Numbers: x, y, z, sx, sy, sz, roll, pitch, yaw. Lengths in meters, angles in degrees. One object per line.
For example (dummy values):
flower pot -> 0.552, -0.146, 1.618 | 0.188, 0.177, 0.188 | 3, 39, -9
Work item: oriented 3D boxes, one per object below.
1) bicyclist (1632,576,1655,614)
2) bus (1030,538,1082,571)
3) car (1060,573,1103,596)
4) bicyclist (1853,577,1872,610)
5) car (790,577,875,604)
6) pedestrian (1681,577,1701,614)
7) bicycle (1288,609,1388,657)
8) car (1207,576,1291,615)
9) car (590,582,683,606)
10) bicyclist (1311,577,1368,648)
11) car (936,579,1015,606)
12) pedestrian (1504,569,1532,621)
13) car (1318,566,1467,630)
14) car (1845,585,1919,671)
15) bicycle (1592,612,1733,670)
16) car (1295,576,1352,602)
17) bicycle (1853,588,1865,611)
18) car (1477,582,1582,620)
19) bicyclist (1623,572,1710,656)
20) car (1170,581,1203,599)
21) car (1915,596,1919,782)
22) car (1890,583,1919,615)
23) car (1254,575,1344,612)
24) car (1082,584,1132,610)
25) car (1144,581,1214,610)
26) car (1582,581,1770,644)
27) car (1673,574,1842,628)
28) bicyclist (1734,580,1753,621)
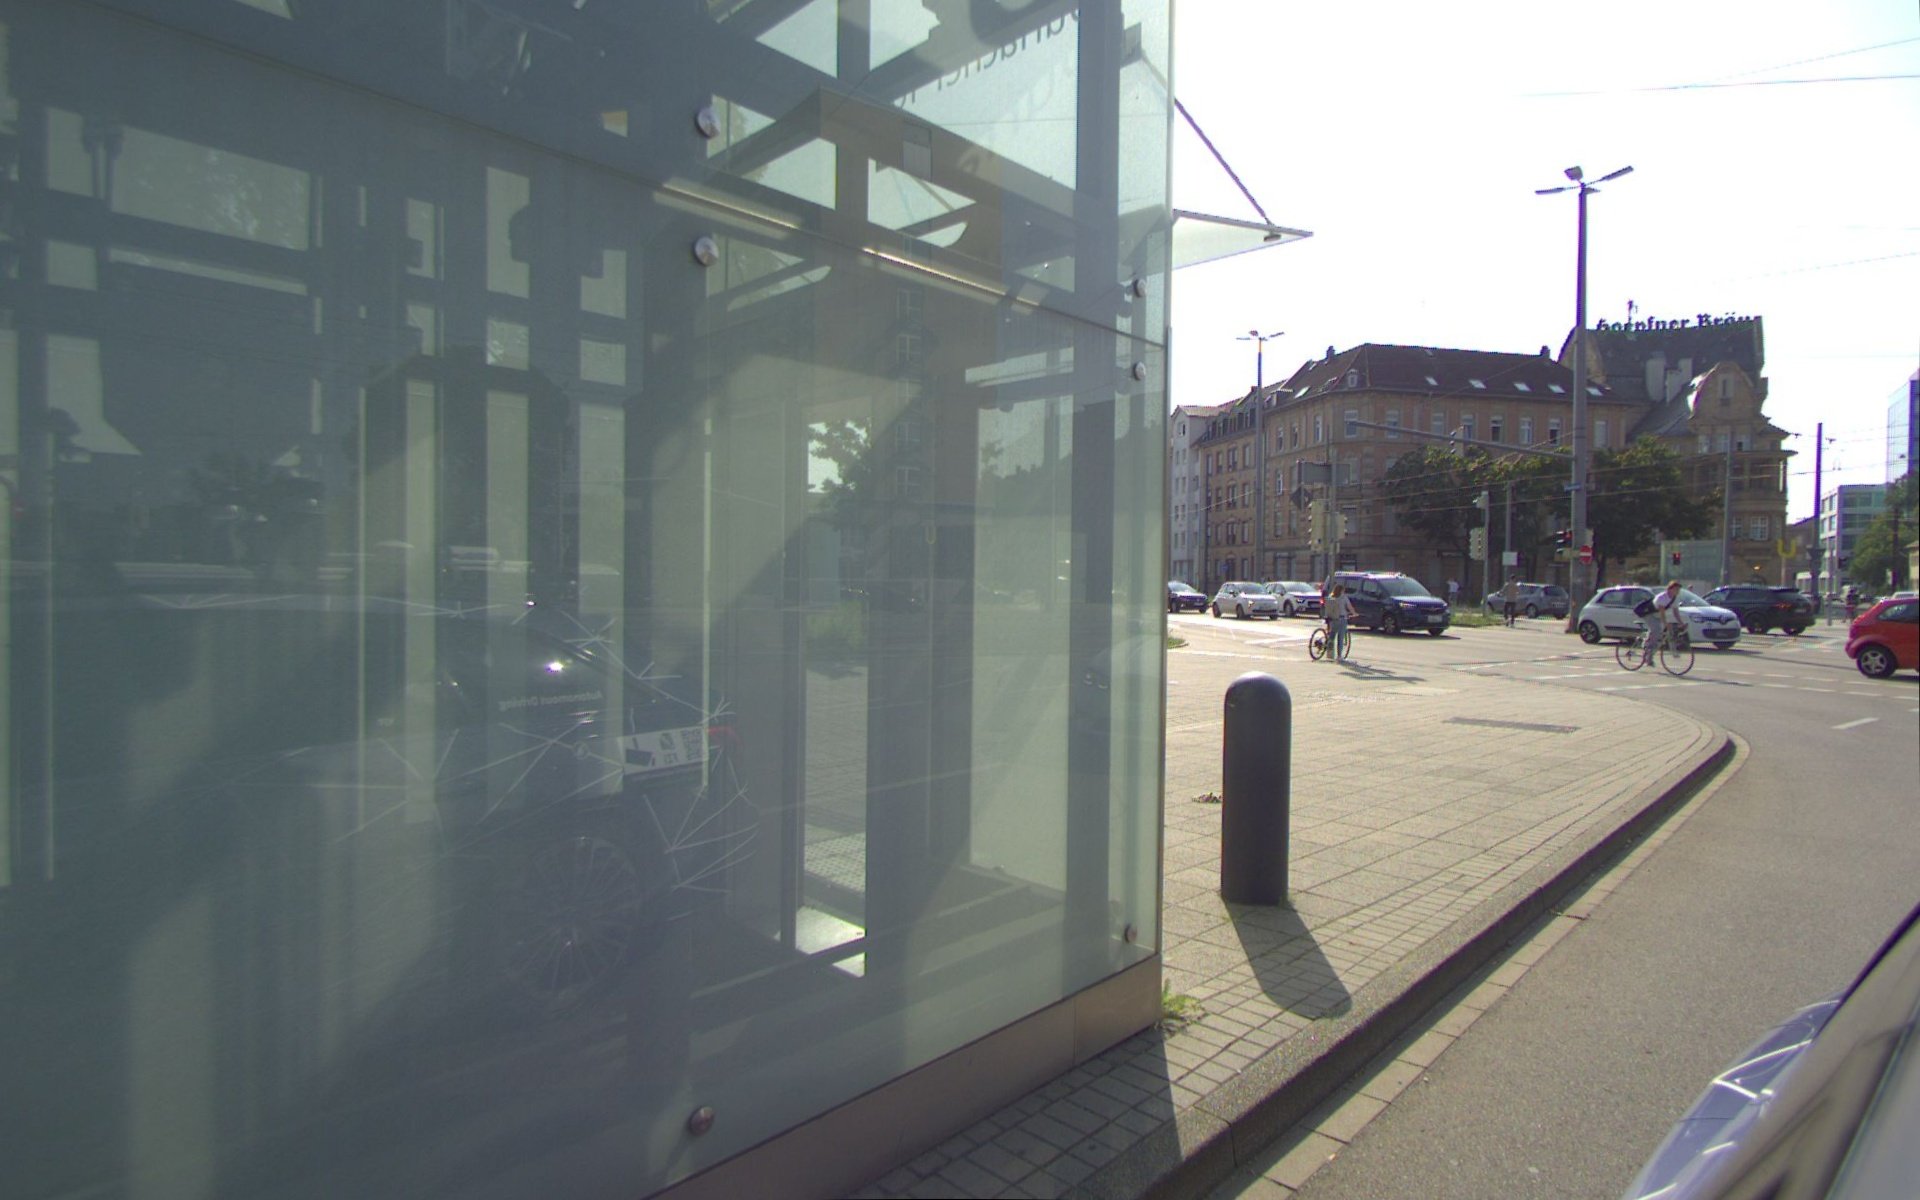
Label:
bicyclist -> 31.997, -0.227, 47.400 | 0.575, 1.738, 0.649 | 1, 0, -18
bus -> 9.146, -4.306, 98.170 | 2.840, 3.021, 11.512 | 1, 1, -5
car -> 8.093, -1.036, 67.760 | 1.766, 1.459, 3.639 | 1, 1, -12
bicyclist -> 44.871, -0.328, 50.314 | 0.660, 1.657, 0.905 | 2, 1, 41
car -> -6.966, -0.535, 55.189 | 4.305, 1.387, 2.005 | 0, 1, -18
pedestrian -> 33.645, -0.216, 46.549 | 0.495, 1.661, 0.525 | 1, 0, -15
bicycle -> 7.908, 0.698, 21.169 | 2.031, 0.905, 0.569 | 3, -1, -20
car -> 11.734, -0.215, 41.293 | 1.766, 1.459, 3.639 | 1, 1, -12
car -> -16.527, -0.315, 51.683 | 4.306, 1.180, 2.004 | 0, 1, -24
bicyclist -> 7.923, 0.257, 21.158 | 0.802, 1.445, 0.732 | 1, 0, -20
car -> 0.831, -0.441, 56.461 | 4.314, 1.387, 2.000 | 1, 1, 0
pedestrian -> 19.164, -0.183, 34.762 | 0.515, 1.752, 0.599 | 1, 0, -17
car -> 13.430, -0.119, 31.788 | 1.765, 1.850, 4.784 | 1, 1, -14
car -> 17.399, 0.517, 16.636 | 1.766, 1.433, 4.008 | 1, 1, -12
bicycle -> 13.237, 0.736, 19.162 | 0.518, 1.002, 2.200 | -1, 0, -27
car -> 21.734, -0.705, 60.701 | 1.643, 1.466, 3.786 | 1, 1, -7
bicycle -> 44.794, -0.031, 50.436 | 0.399, 1.104, 1.900 | 2, 1, 41
car -> 26.894, 0.006, 47.969 | 1.776, 1.644, 4.300 | 2, 1, -16
bicyclist -> 13.300, 0.236, 19.067 | 1.066, 1.493, 0.973 | -2, 2, -28
car -> 19.682, -0.865, 88.014 | 1.706, 1.478, 3.844 | 1, 1, -5
car -> 6.825, 0.694, 5.117 | 4.681, 1.445, 1.815 | 0, -1, -33
car -> 52.285, -0.070, 55.241 | 1.918, 1.656, 3.944 | 2, 2, 39
car -> 14.166, -0.296, 42.554 | 1.766, 1.433, 4.008 | 1, 1, -12
car -> 8.694, -0.190, 60.247 | 1.766, 1.459, 3.639 | 1, 1, -12
car -> 10.342, -0.239, 48.080 | 1.765, 1.298, 3.639 | 1, 1, -15
car -> 18.043, 0.270, 25.689 | 1.765, 1.453, 3.565 | 1, 1, -15
car -> 27.765, -0.008, 35.407 | 1.731, 1.728, 4.299 | 2, 1, -21
bicyclist -> 34.019, 0.003, 43.963 | 0.583, 1.752, 0.588 | 1, 0, 34
